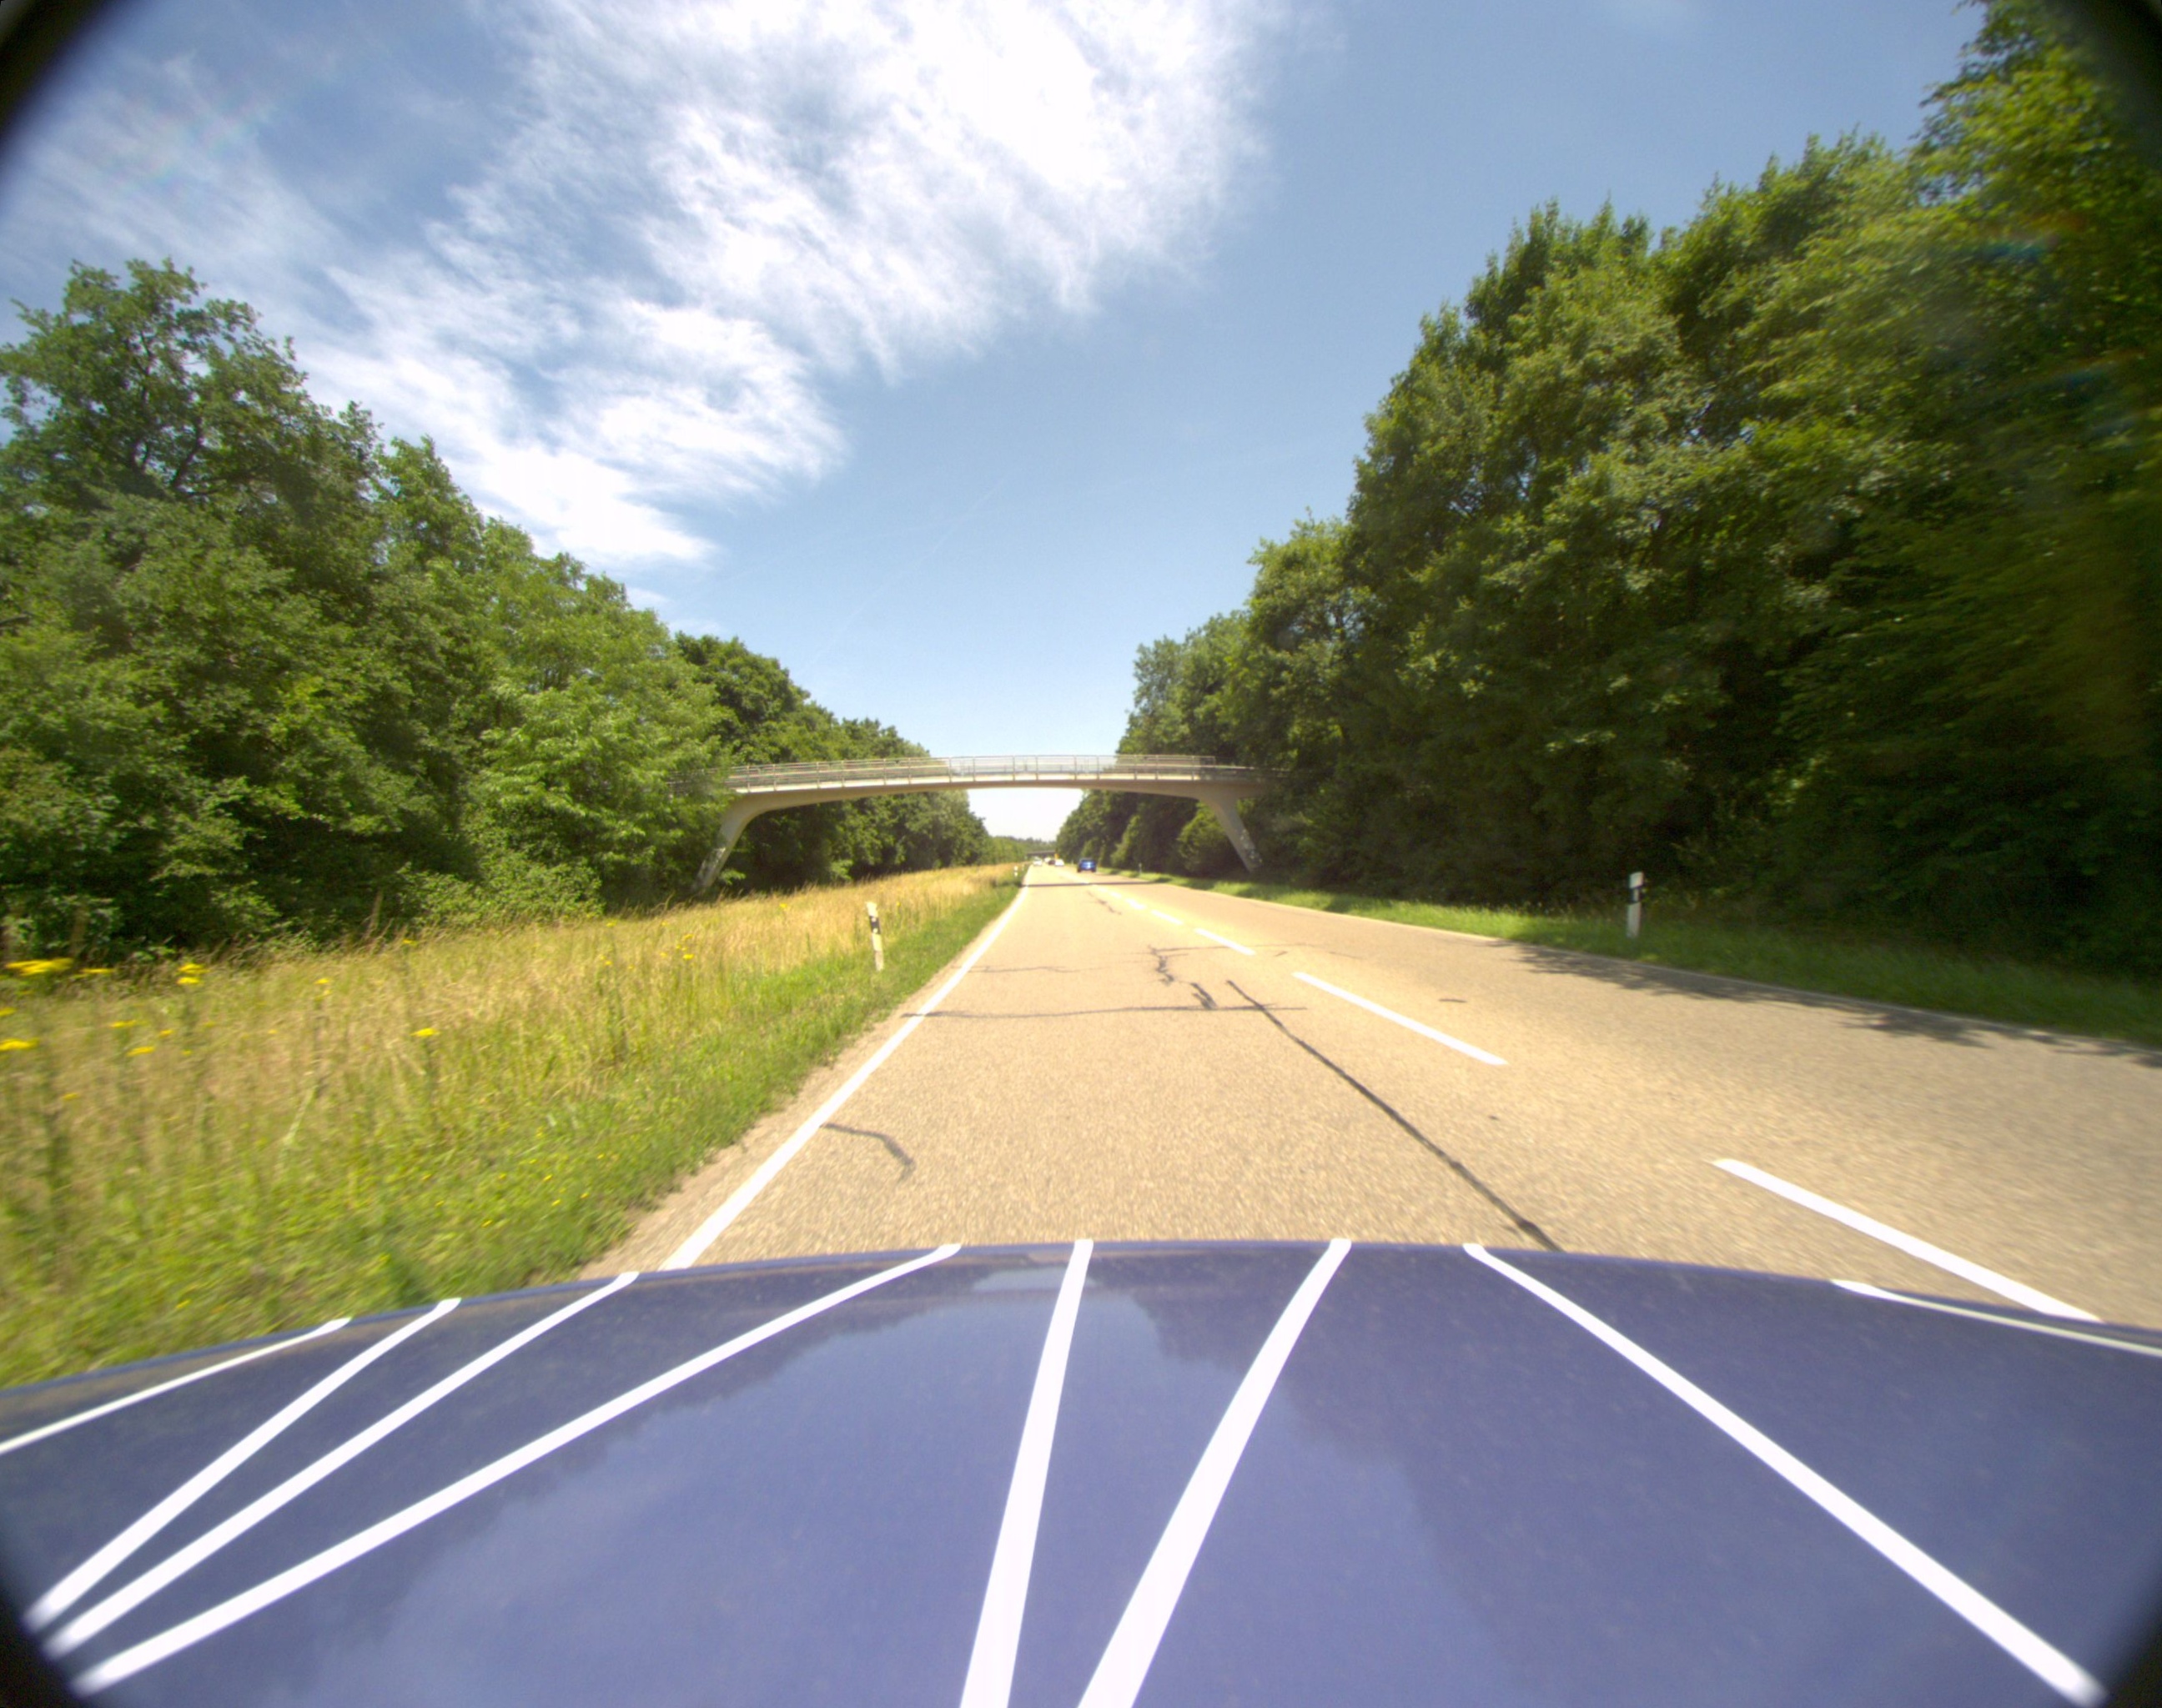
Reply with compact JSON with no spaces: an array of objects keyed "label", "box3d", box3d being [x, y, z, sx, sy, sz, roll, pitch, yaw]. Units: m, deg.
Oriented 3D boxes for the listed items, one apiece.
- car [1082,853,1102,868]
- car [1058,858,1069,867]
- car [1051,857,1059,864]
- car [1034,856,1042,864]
[{"label":"car","box3d":[1.111,0.710,81.802,1.828,1.580,4.418,0,0,-3]},{"label":"car","box3d":[-3.587,1.667,154.451,1.865,1.747,3.998,-2,0,-4]},{"label":"car","box3d":[-6.771,1.722,195.079,1.865,1.747,3.998,-2,0,-4]},{"label":"car","box3d":[-10.149,1.344,179.388,1.865,1.747,3.998,-2,0,-4]}]
